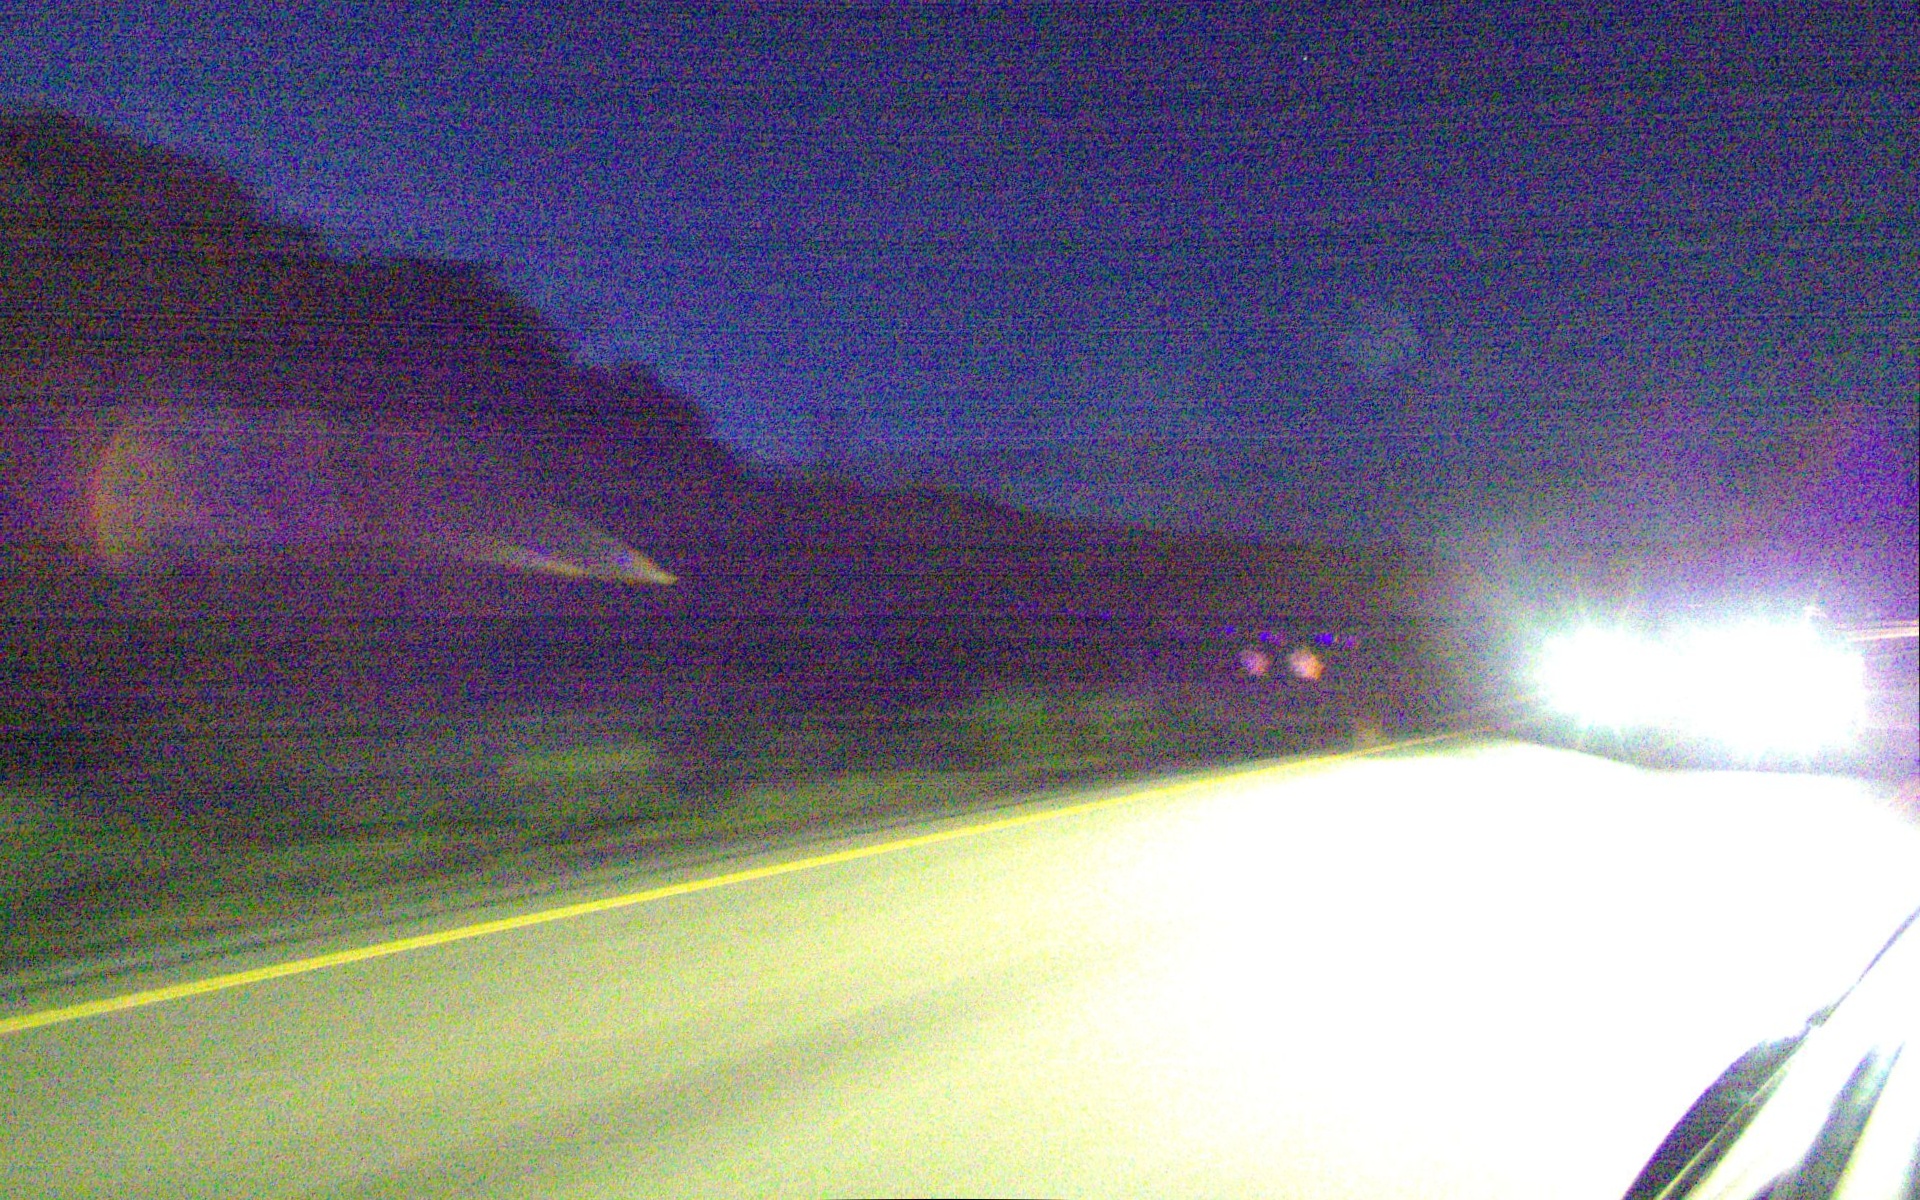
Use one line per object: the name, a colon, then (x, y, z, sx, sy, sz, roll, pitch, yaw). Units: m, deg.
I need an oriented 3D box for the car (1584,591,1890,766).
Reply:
car: (8.594, 0.659, 11.015, 4.791, 1.444, 1.811, -1, 2, -42)
